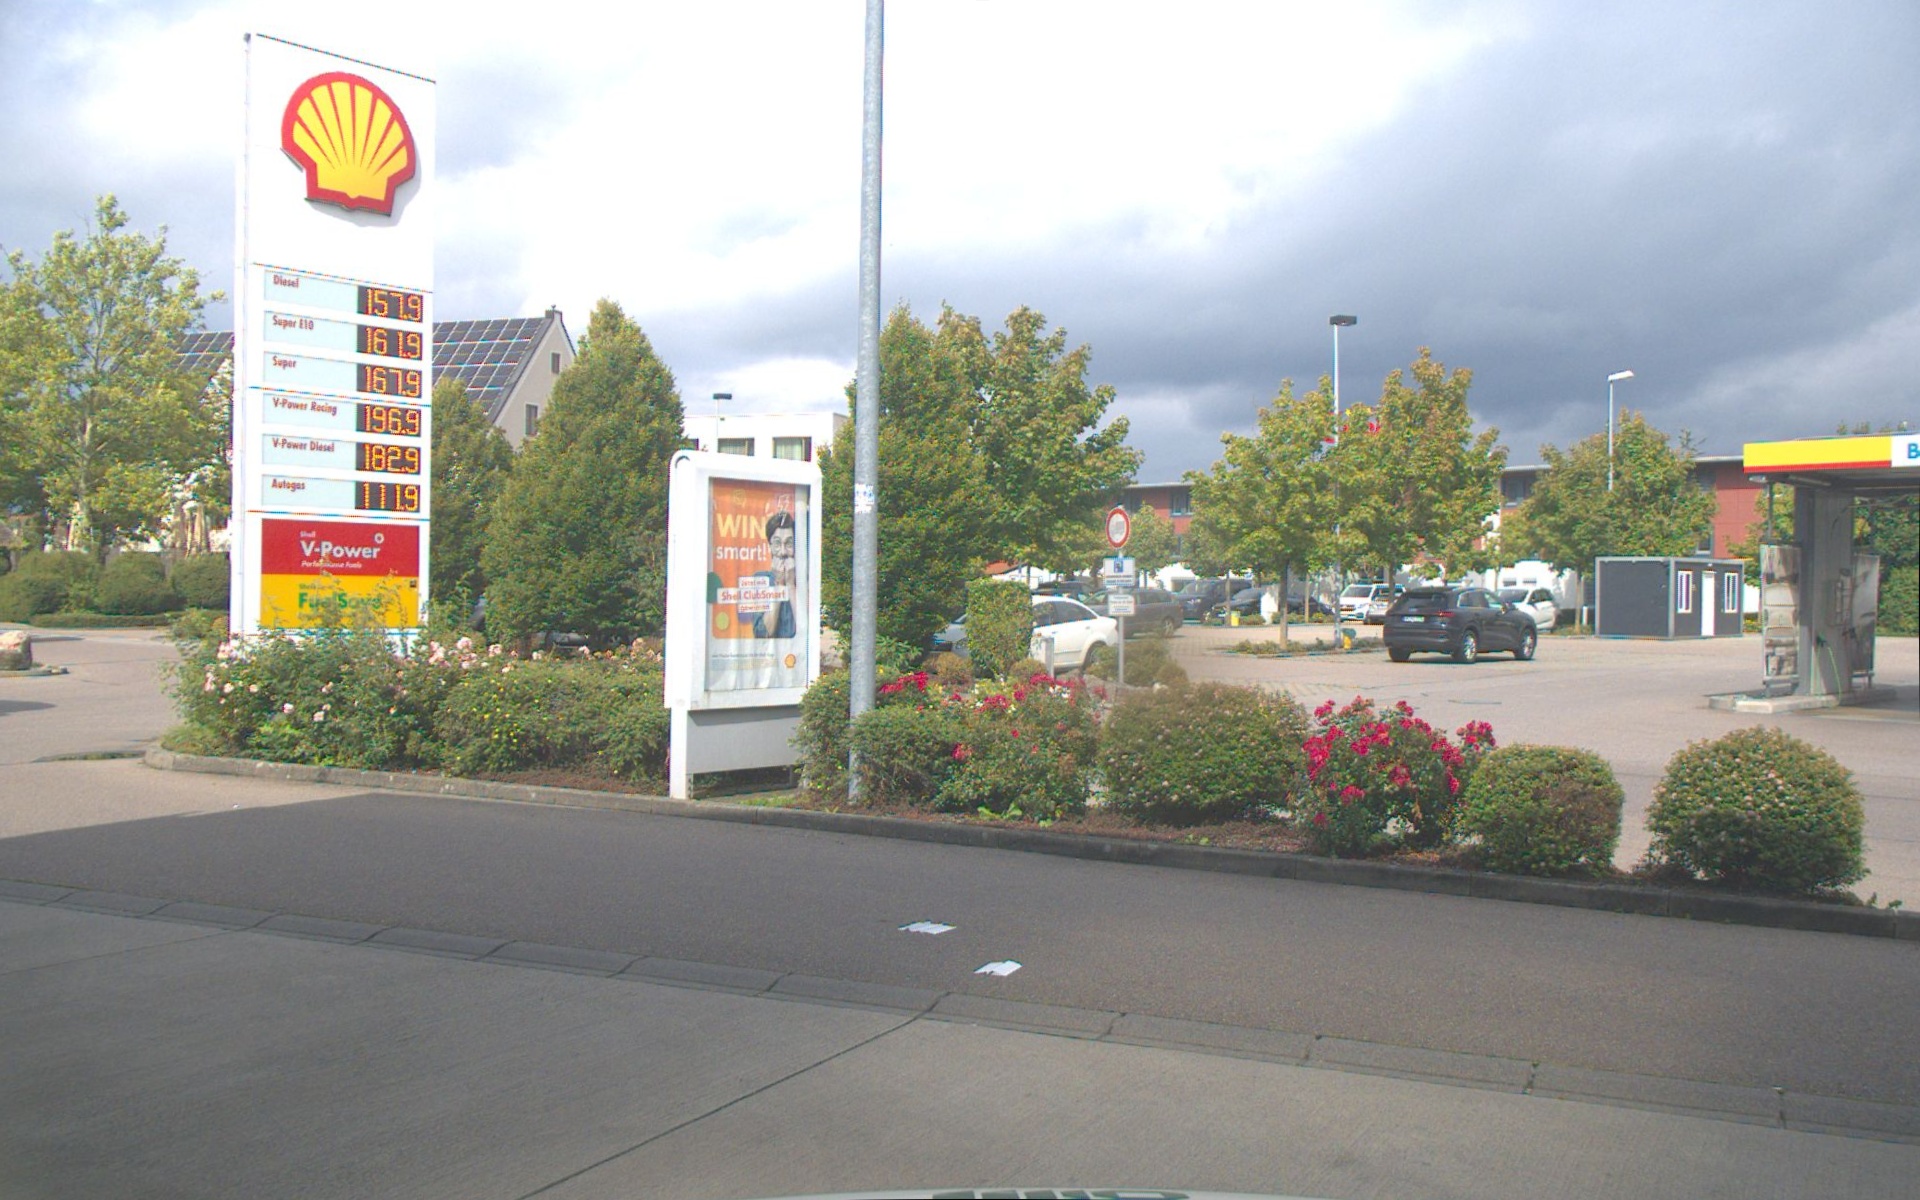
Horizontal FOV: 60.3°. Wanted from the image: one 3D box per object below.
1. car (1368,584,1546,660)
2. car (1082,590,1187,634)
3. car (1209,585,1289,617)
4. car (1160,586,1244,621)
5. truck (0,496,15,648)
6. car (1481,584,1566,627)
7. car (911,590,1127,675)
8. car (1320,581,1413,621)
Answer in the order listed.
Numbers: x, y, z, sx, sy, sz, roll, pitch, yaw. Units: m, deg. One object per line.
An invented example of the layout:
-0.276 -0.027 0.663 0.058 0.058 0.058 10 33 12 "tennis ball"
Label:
11.134 0.491 36.900 4.467 1.575 1.856 1 0 -44 "car"
5.282 0.371 49.799 3.203 1.249 1.481 1 0 -45 "car"
11.416 0.047 65.217 3.393 1.199 1.462 1 0 -45 "car"
9.814 0.150 66.939 3.364 1.343 1.719 1 0 -45 "car"
-27.654 -0.765 43.290 5.796 3.913 2.733 1 0 34 "truck"
18.011 0.178 52.813 3.080 1.330 1.346 1 -1 -45 "car"
1.137 0.578 29.943 1.348 1.428 4.312 1 -1 45 "car"
19.918 0.044 80.952 4.839 1.865 2.150 1 0 -44 "car"
